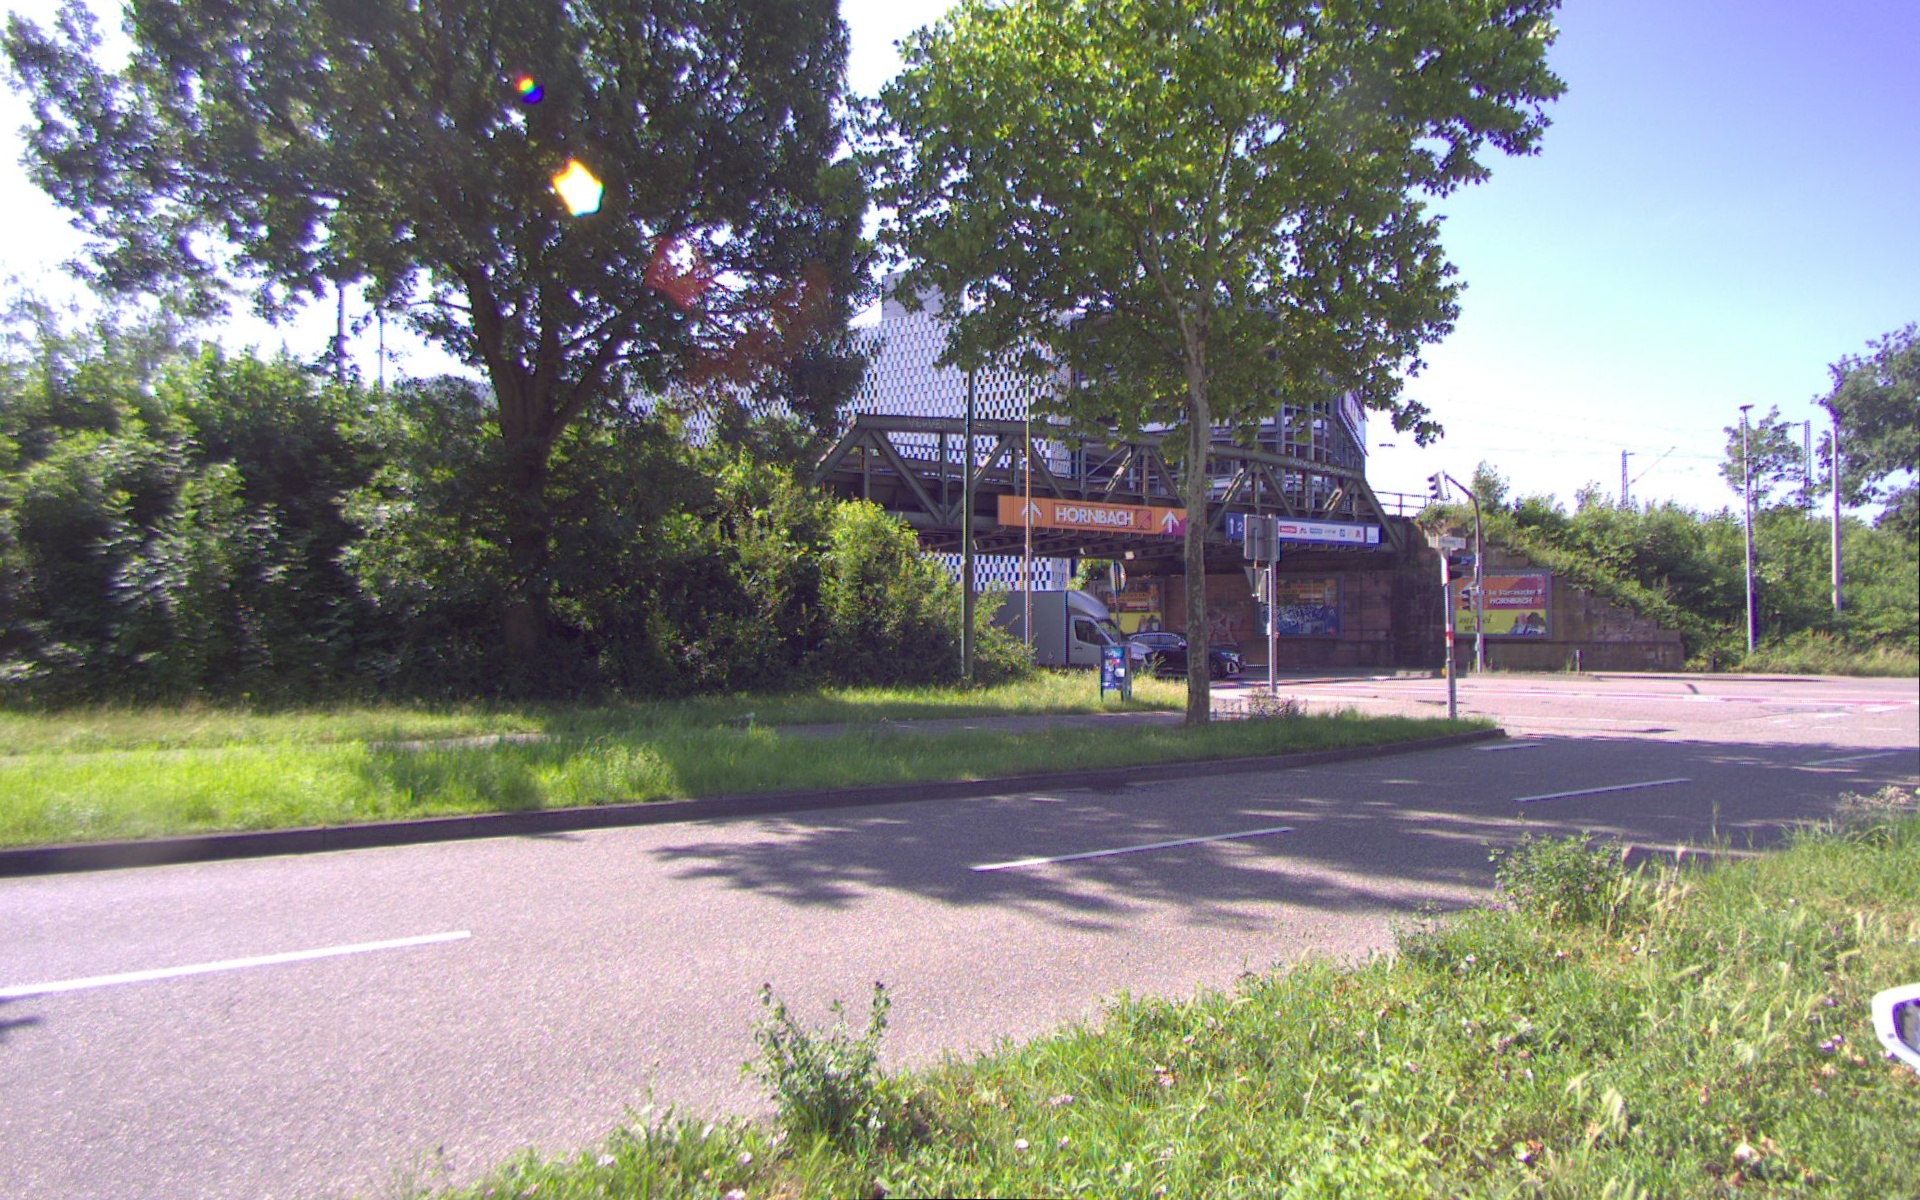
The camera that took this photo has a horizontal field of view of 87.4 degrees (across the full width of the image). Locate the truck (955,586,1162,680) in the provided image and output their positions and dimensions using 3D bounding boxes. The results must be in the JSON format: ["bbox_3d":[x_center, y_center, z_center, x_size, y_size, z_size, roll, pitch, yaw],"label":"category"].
[{"bbox_3d":[3.116,0.996,32.300,6.286,2.748,1.998,1,-1,26],"label":"truck"}]

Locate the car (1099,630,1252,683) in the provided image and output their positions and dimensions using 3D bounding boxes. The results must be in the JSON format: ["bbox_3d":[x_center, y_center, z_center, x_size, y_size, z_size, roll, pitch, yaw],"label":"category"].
[{"bbox_3d":[7.459,1.904,34.865,4.957,1.617,1.526,1,-1,24],"label":"car"}]
